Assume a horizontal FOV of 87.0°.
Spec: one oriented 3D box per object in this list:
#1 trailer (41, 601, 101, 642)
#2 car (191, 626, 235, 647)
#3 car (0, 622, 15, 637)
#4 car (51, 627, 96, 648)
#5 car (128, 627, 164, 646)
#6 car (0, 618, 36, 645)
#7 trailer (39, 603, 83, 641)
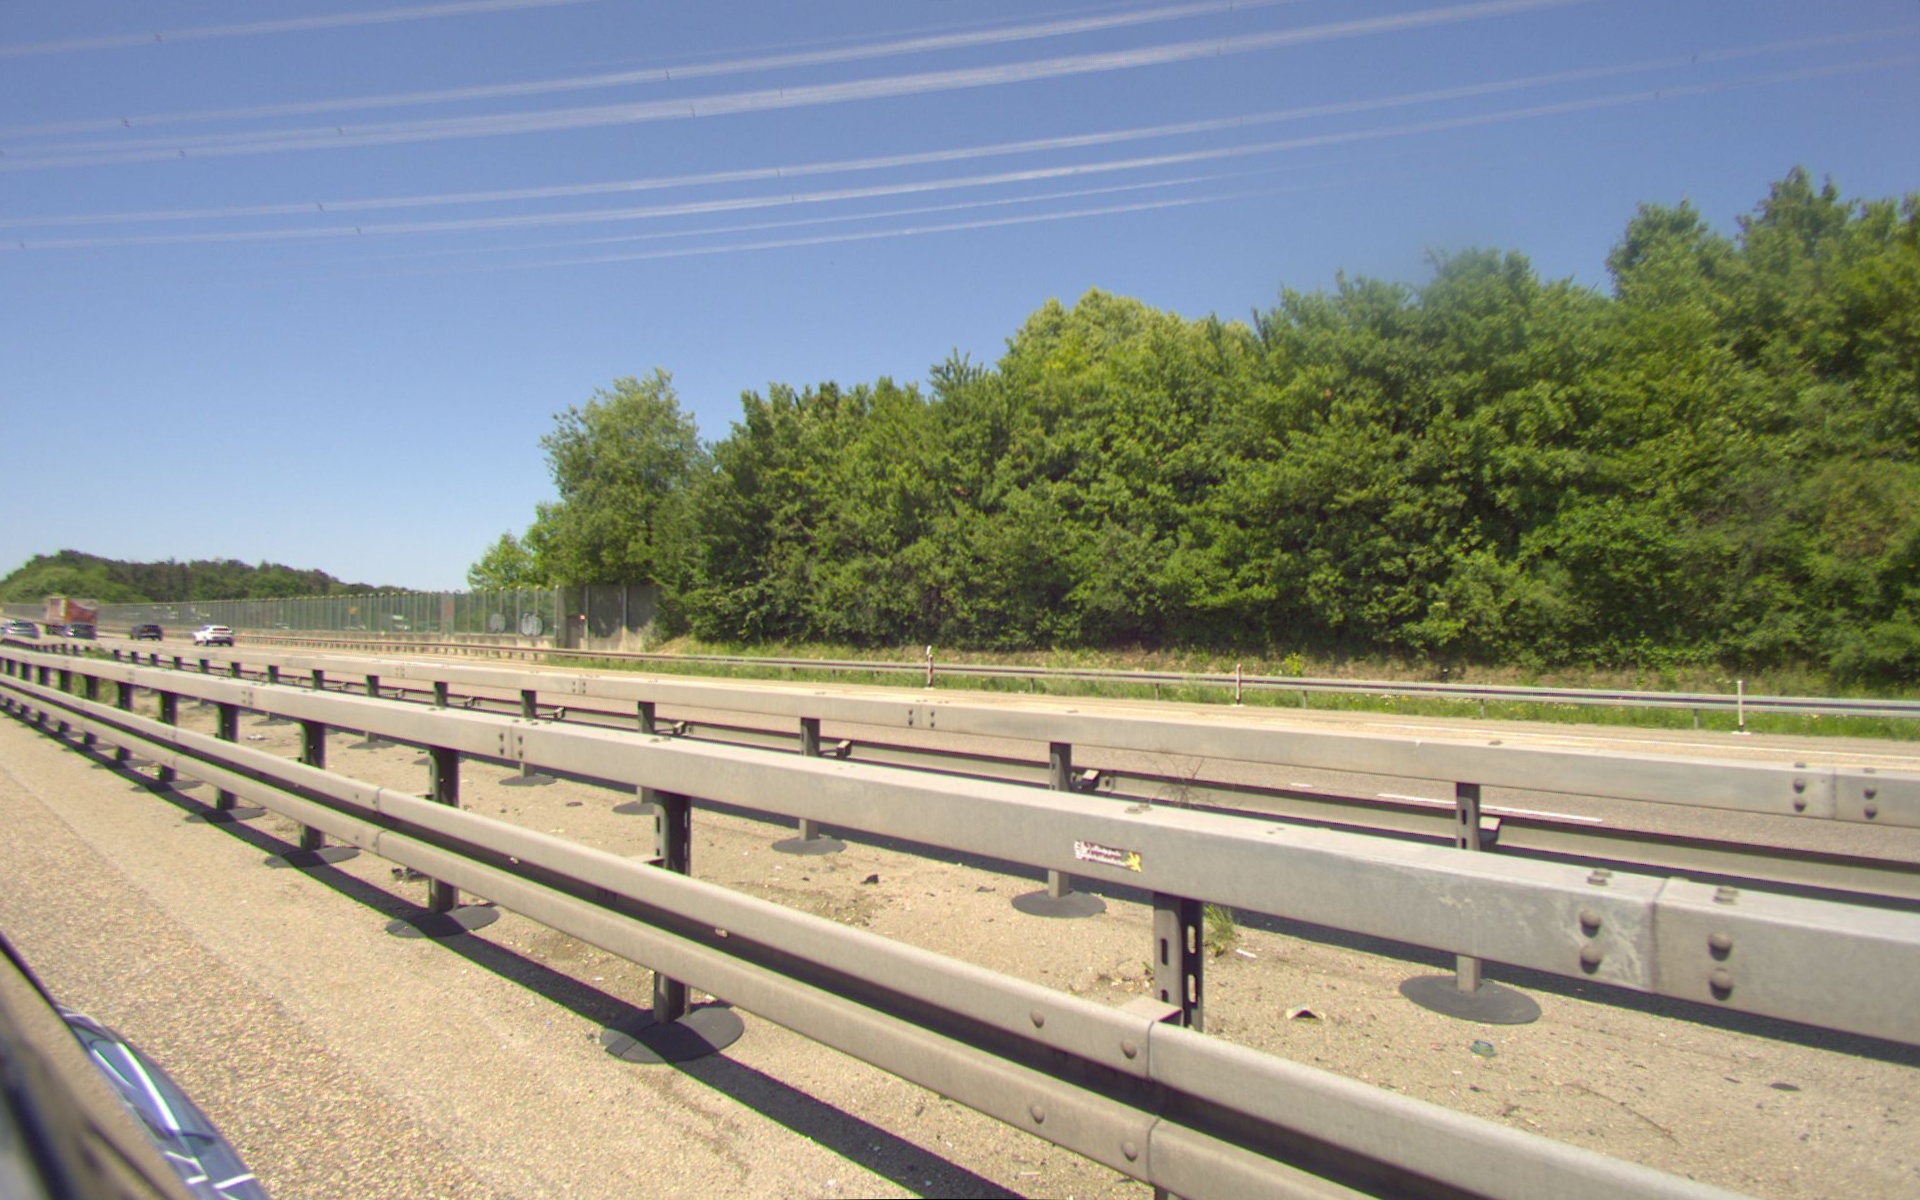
[{"bbox_3d":[-92.987,2.311,105.722,14.674,4.007,2.734,-2,-3,42],"label":"trailer"},{"bbox_3d":[-55.949,2.709,75.751,4.343,1.467,1.668,-1,-3,41],"label":"car"},{"bbox_3d":[-98.430,3.033,103.675,4.301,1.478,1.832,0,-2,40],"label":"car"},{"bbox_3d":[-64.441,2.722,73.521,4.142,1.457,1.857,0,-2,40],"label":"car"},{"bbox_3d":[-74.204,3.285,92.224,5.277,1.588,1.971,0,0,45],"label":"car"},{"bbox_3d":[-61.991,2.054,66.240,3.948,1.643,1.755,0,0,40],"label":"car"},{"bbox_3d":[-97.409,2.444,109.678,6.129,4.007,2.728,-2,-4,41],"label":"trailer"}]
